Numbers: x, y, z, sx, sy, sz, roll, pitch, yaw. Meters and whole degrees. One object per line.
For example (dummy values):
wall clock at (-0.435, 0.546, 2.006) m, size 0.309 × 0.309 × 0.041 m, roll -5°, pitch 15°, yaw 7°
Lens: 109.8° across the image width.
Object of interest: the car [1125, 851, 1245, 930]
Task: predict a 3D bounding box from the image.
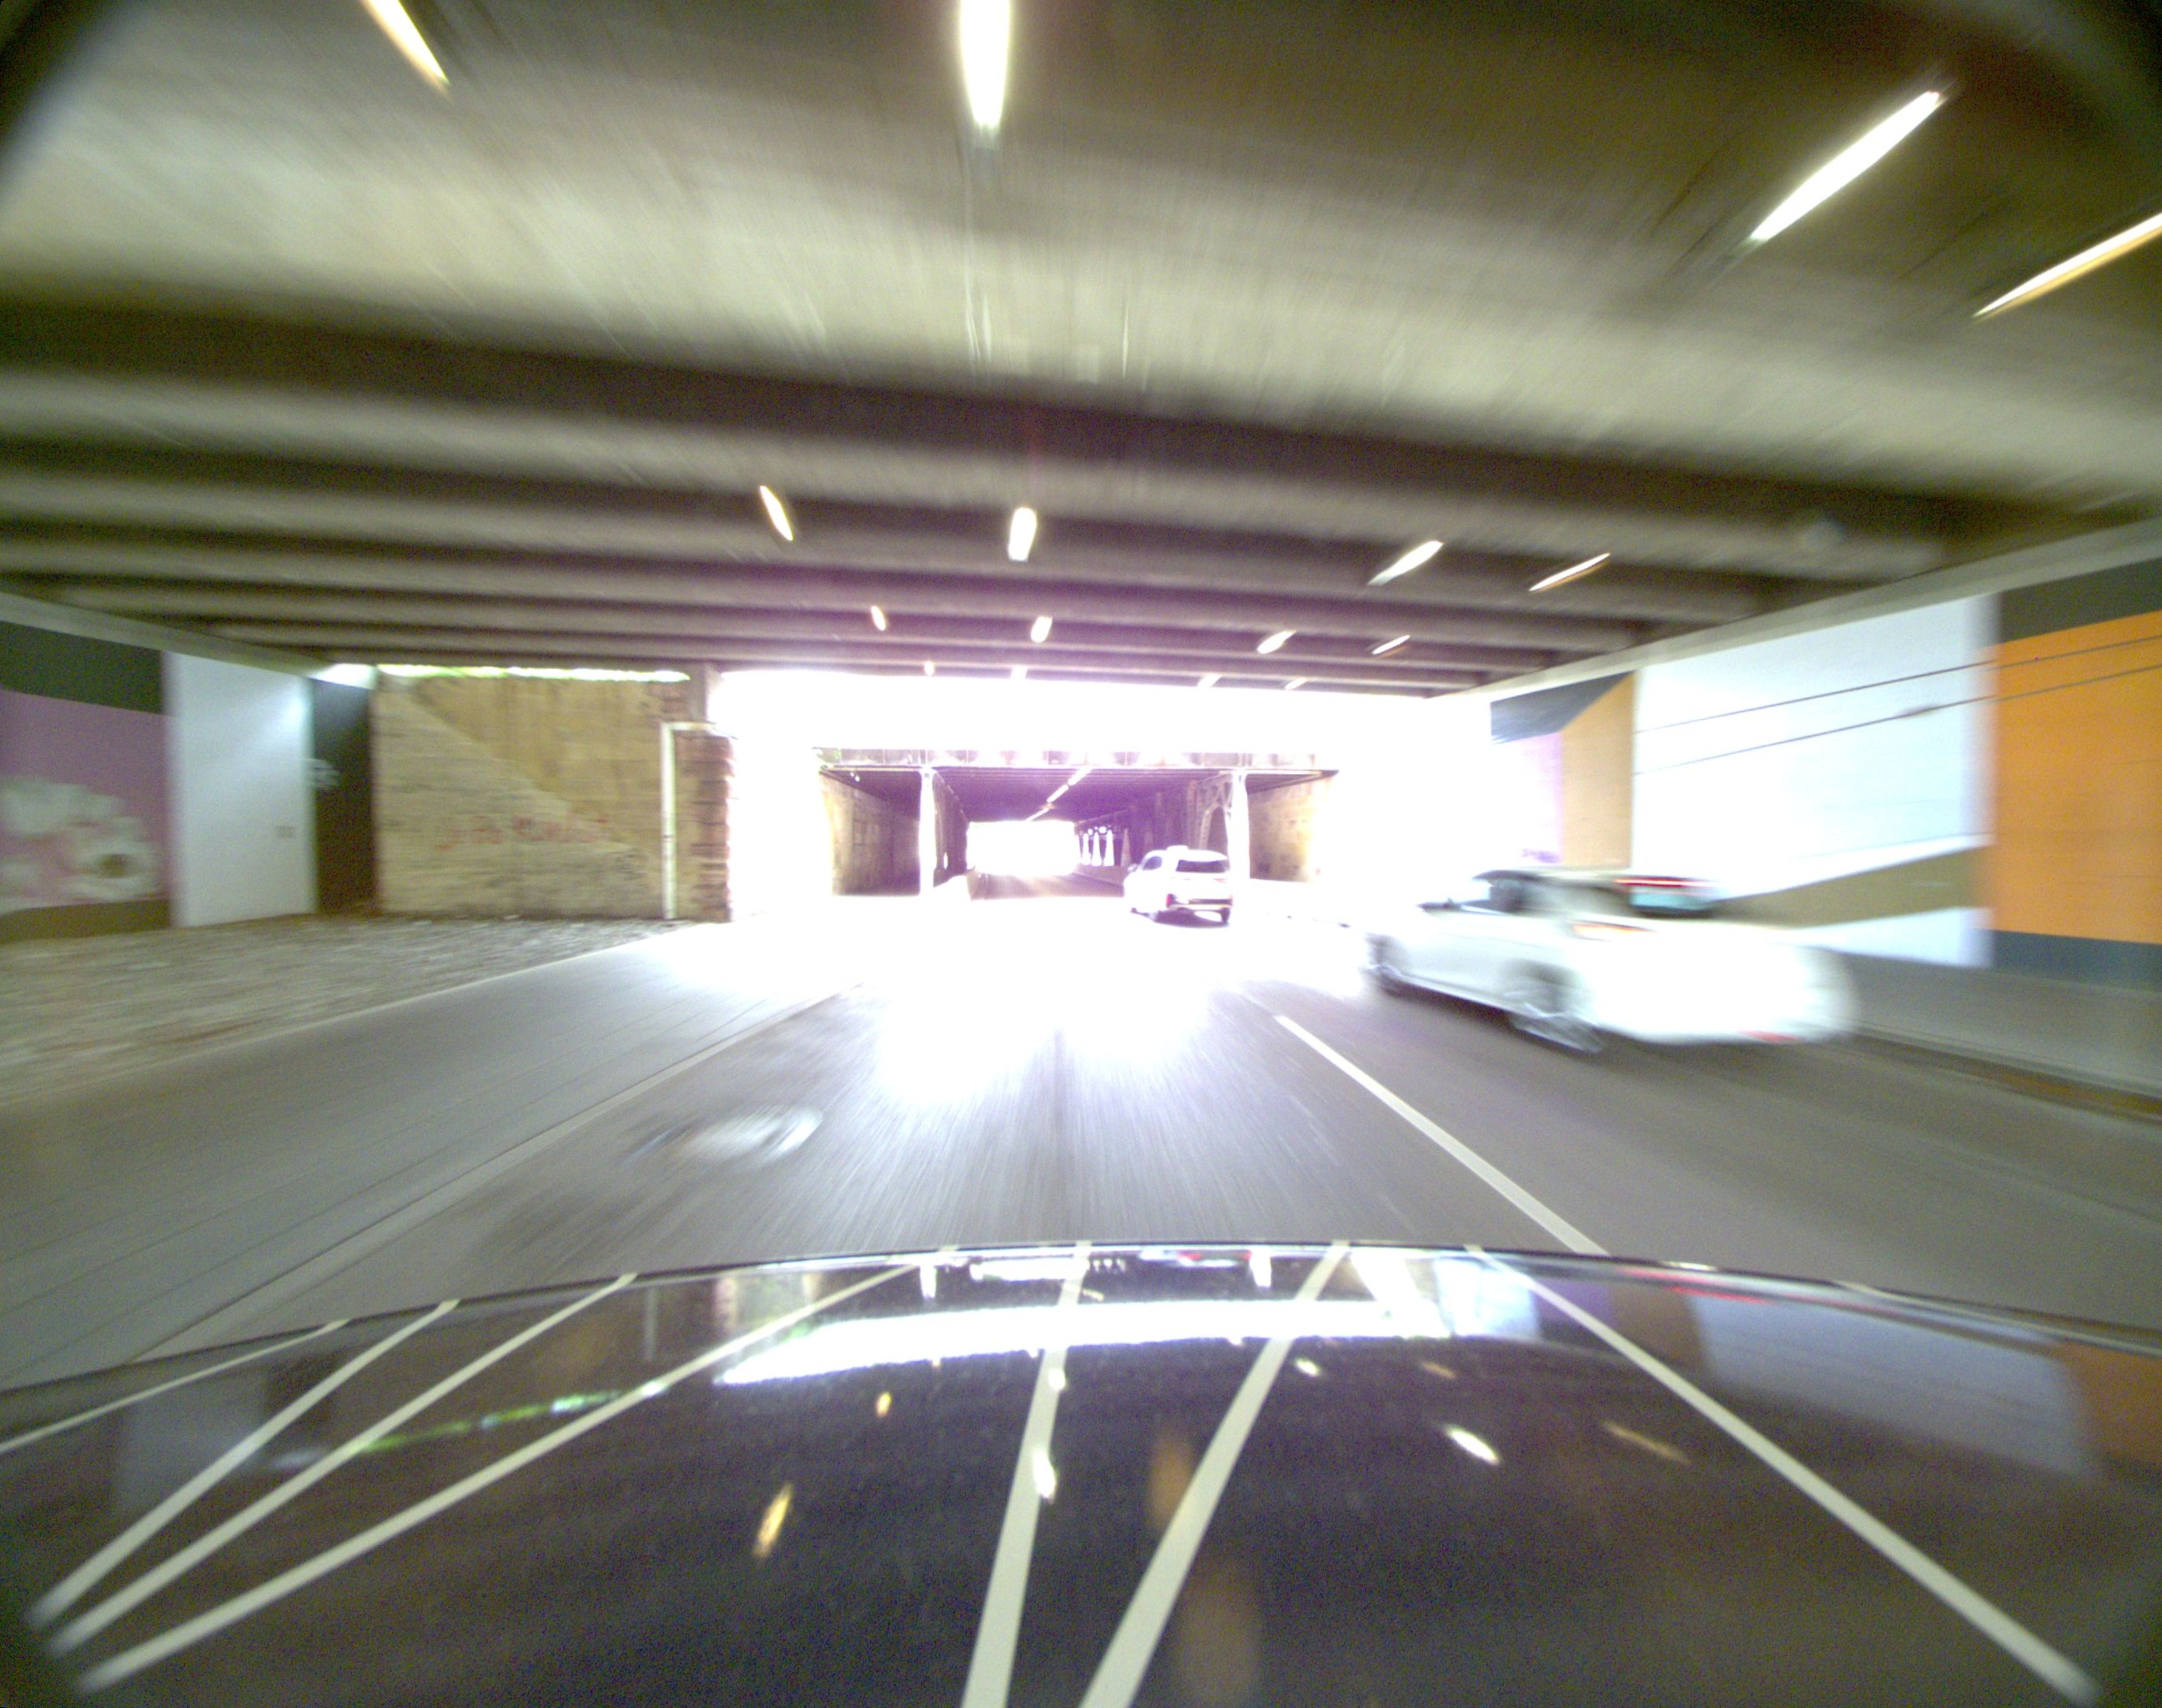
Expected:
car at (2.326, 0.765, 18.165) m, size 1.831 × 1.644 × 4.211 m, roll 0°, pitch 0°, yaw -7°

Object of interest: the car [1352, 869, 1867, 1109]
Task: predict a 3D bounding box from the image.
car at (4.170, 0.908, 6.877) m, size 1.677 × 1.439 × 3.850 m, roll 0°, pitch 0°, yaw -7°
